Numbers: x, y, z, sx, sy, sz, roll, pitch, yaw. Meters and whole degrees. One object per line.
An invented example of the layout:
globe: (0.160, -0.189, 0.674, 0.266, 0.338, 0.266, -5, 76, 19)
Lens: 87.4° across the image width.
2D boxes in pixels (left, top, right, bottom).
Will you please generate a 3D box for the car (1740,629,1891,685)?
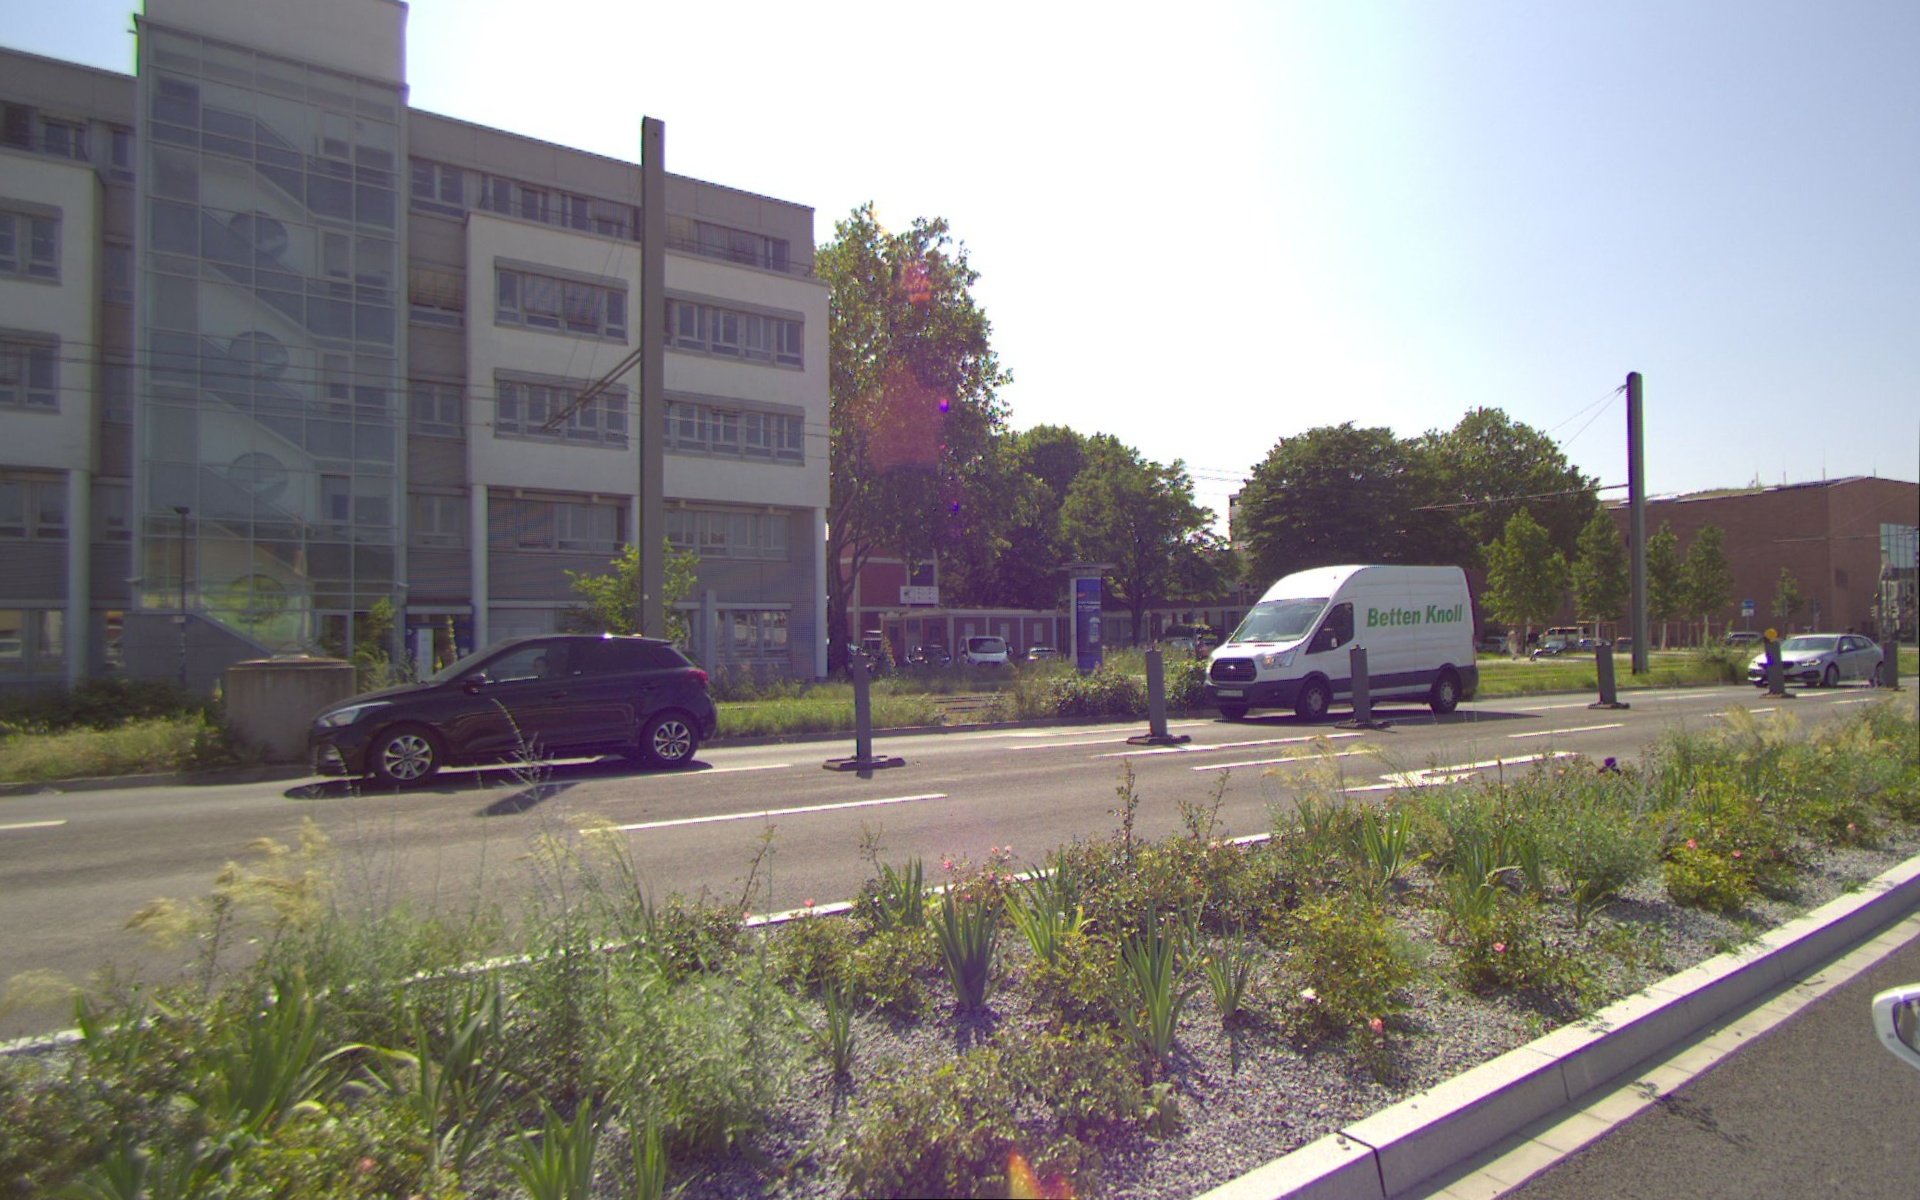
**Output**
car: (23.870, 1.572, 27.992, 4.413, 1.462, 1.667, 1, -4, -28)

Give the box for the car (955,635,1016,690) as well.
car: (1.047, 2.656, 43.904, 2.074, 2.208, 5.073, 0, -2, -5)

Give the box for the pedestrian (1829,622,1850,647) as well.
pedestrian: (66.289, 2.563, 75.697, 1.093, 1.871, 0.809, 0, -1, -27)

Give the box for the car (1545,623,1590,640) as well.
car: (61.432, 3.187, 101.670, 1.675, 1.712, 3.524, 0, -1, -32)

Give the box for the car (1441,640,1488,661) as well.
car: (37.072, 3.692, 73.813, 3.750, 1.476, 1.528, 0, -1, -36)

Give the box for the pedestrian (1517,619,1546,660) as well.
pedestrian: (28.976, 2.012, 50.945, 0.899, 2.040, 0.978, 1, 0, -30)

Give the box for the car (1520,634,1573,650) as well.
car: (55.832, 4.003, 95.642, 1.974, 1.421, 3.973, 1, -2, -27)

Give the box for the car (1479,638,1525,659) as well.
car: (41.537, 3.697, 76.947, 3.746, 1.476, 1.530, 0, -1, -33)

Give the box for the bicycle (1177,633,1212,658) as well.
bicycle: (9.628, 1.850, 41.221, 1.539, 0.999, 0.458, 1, -1, -30)

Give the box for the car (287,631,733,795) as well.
car: (-4.699, 1.101, 10.816, 4.147, 1.476, 1.537, 1, -4, -33)

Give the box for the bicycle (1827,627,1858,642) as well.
bicycle: (76.684, 3.001, 87.292, 0.535, 1.228, 2.032, 1, -1, -43)

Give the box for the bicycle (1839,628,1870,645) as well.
bicycle: (80.326, 3.271, 90.184, 0.535, 1.472, 2.032, 0, -1, -42)

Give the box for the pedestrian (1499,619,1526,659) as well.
pedestrian: (28.499, 2.018, 51.849, 0.972, 2.040, 0.835, 0, -1, -30)

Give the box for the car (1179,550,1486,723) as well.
car: (6.962, 0.694, 18.512, 5.919, 2.775, 2.067, 1, -4, -32)

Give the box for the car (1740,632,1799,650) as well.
car: (66.956, 3.378, 83.105, 1.556, 1.388, 3.458, 0, -1, -33)

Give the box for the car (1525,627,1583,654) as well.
car: (41.722, 2.843, 70.472, 4.481, 1.784, 1.689, 2, -2, -33)

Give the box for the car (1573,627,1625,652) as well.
car: (46.322, 2.862, 72.803, 3.896, 1.784, 1.689, 2, -2, -32)

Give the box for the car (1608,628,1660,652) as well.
car: (51.219, 3.045, 76.316, 4.254, 1.784, 1.689, 2, -2, -33)
